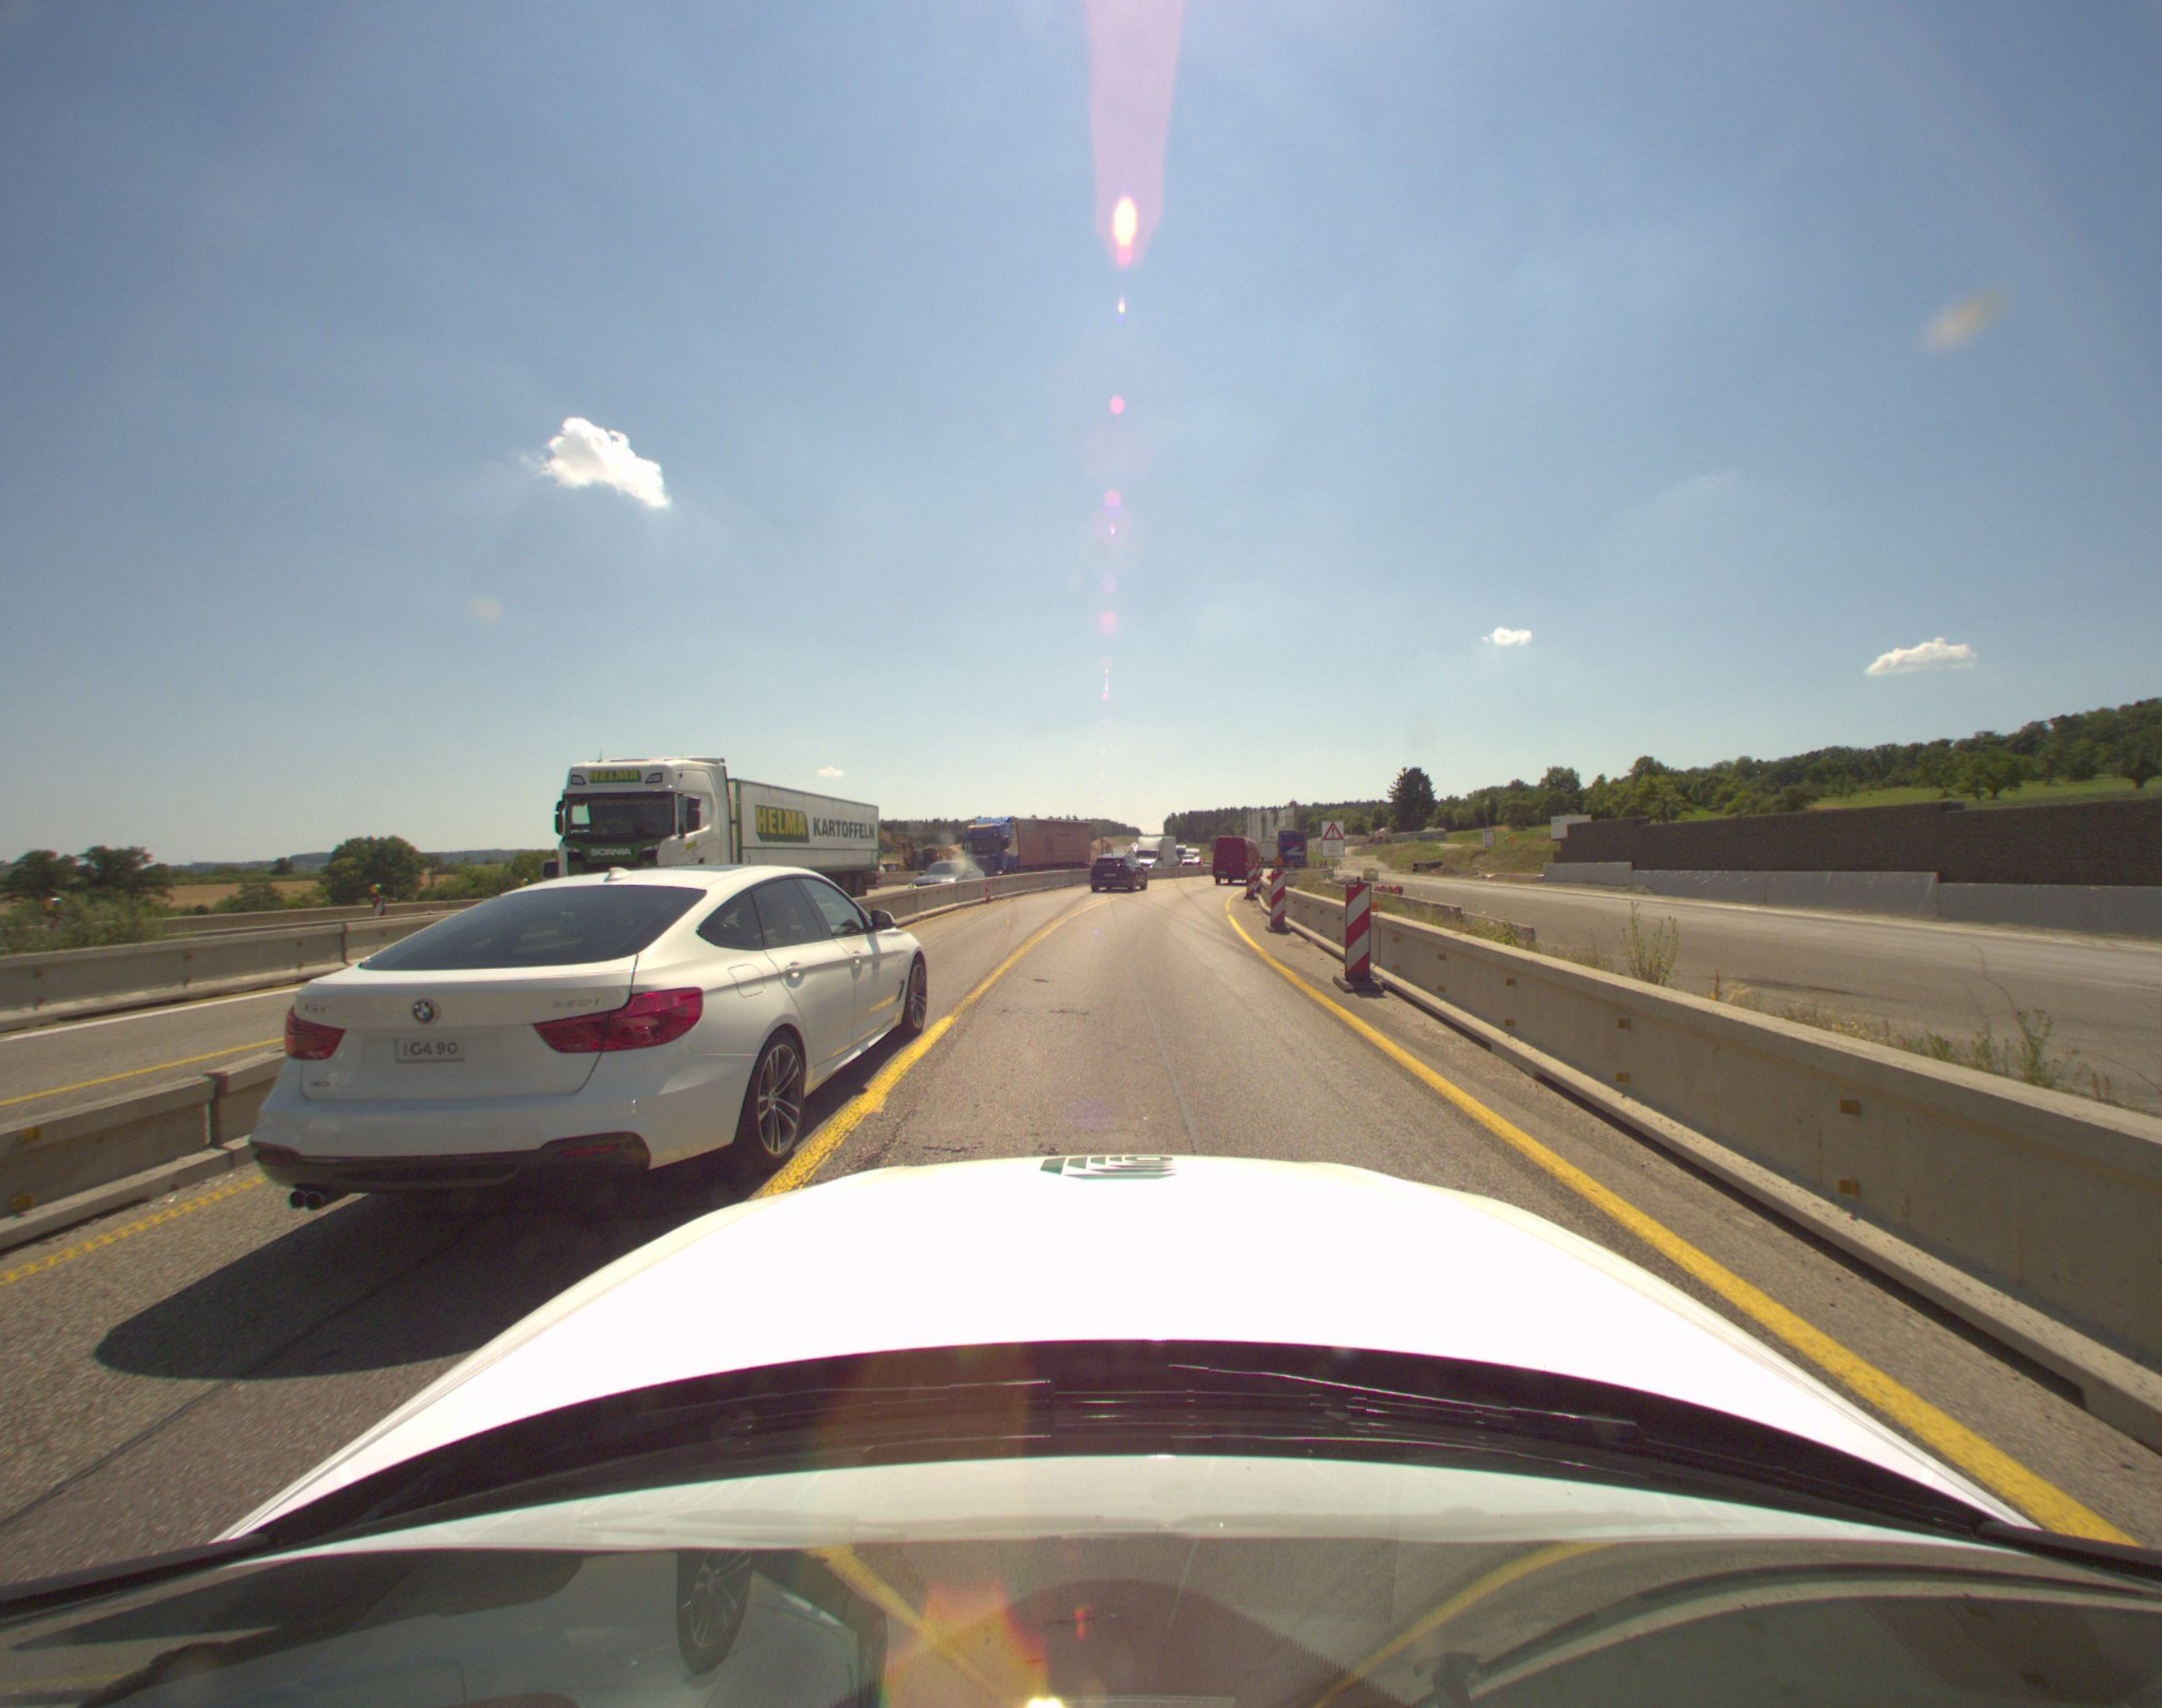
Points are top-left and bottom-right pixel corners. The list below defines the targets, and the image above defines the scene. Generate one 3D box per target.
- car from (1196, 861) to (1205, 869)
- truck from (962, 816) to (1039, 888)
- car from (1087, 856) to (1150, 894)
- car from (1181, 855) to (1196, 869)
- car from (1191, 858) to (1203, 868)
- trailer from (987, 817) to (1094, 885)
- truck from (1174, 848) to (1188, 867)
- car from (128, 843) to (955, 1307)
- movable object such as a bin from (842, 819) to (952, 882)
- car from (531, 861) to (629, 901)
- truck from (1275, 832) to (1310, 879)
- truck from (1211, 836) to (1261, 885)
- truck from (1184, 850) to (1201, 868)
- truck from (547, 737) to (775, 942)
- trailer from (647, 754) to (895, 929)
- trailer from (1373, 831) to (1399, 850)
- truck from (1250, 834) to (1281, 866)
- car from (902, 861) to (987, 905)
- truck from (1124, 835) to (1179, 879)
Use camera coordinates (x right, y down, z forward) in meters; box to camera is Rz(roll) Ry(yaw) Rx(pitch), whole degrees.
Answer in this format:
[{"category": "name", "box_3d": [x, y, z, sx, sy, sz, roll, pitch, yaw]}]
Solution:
[{"category": "car", "box_3d": [25.140, 2.238, 171.441, 1.650, 1.605, 4.408, -1, 0, 10]}, {"category": "truck", "box_3d": [-4.756, -0.102, 49.152, 2.524, 4.081, 5.571, -1, 0, 18]}, {"category": "car", "box_3d": [1.667, 0.855, 35.013, 1.781, 1.534, 3.948, -1, 0, 16]}, {"category": "car", "box_3d": [15.451, 1.130, 116.791, 1.854, 1.953, 4.907, -1, 0, 11]}, {"category": "car", "box_3d": [18.296, 1.405, 128.065, 1.709, 1.627, 4.349, -1, 0, 11]}, {"category": "trailer", "box_3d": [-2.415, -0.168, 56.214, 2.565, 4.152, 13.128, -1, 0, 19]}, {"category": "truck", "box_3d": [21.572, 0.797, 175.843, 2.685, 4.062, 5.517, -1, 0, 10]}, {"category": "car", "box_3d": [-2.277, 0.783, 5.345, 1.787, 1.534, 5.077, -3, 0, 3]}, {"category": "movable object such as a bin", "box_3d": [-13.552, -0.227, 60.999, 2.897, 4.329, 9.379, -1, 0, 25]}, {"category": "car", "box_3d": [-27.063, 1.416, 44.203, 2.199, 2.016, 5.108, 0, 0, -1]}, {"category": "truck", "box_3d": [19.836, 0.127, 76.547, 2.994, 4.153, 8.304, -1, 0, 14]}, {"category": "truck", "box_3d": [9.012, 0.377, 46.901, 2.095, 2.633, 6.512, -1, 0, 17]}, {"category": "truck", "box_3d": [19.629, 0.935, 144.007, 2.430, 3.071, 7.255, -1, 0, 4]}, {"category": "truck", "box_3d": [-9.250, -0.274, 18.609, 2.439, 4.008, 5.079, -1, 0, 2]}, {"category": "trailer", "box_3d": [-8.804, -0.262, 25.610, 2.343, 4.152, 12.509, -1, 0, 3]}, {"category": "trailer", "box_3d": [69.021, -2.985, 184.521, 2.753, 4.114, 6.730, 0, 0, -6]}, {"category": "truck", "box_3d": [28.620, -0.559, 126.671, 3.664, 4.692, 9.772, -1, 0, 7]}, {"category": "car", "box_3d": [-4.876, 1.000, 29.785, 1.744, 1.478, 4.546, -1, 0, 8]}, {"category": "truck", "box_3d": [5.782, 0.228, 65.909, 2.557, 3.381, 6.964, -1, 0, 21]}]
